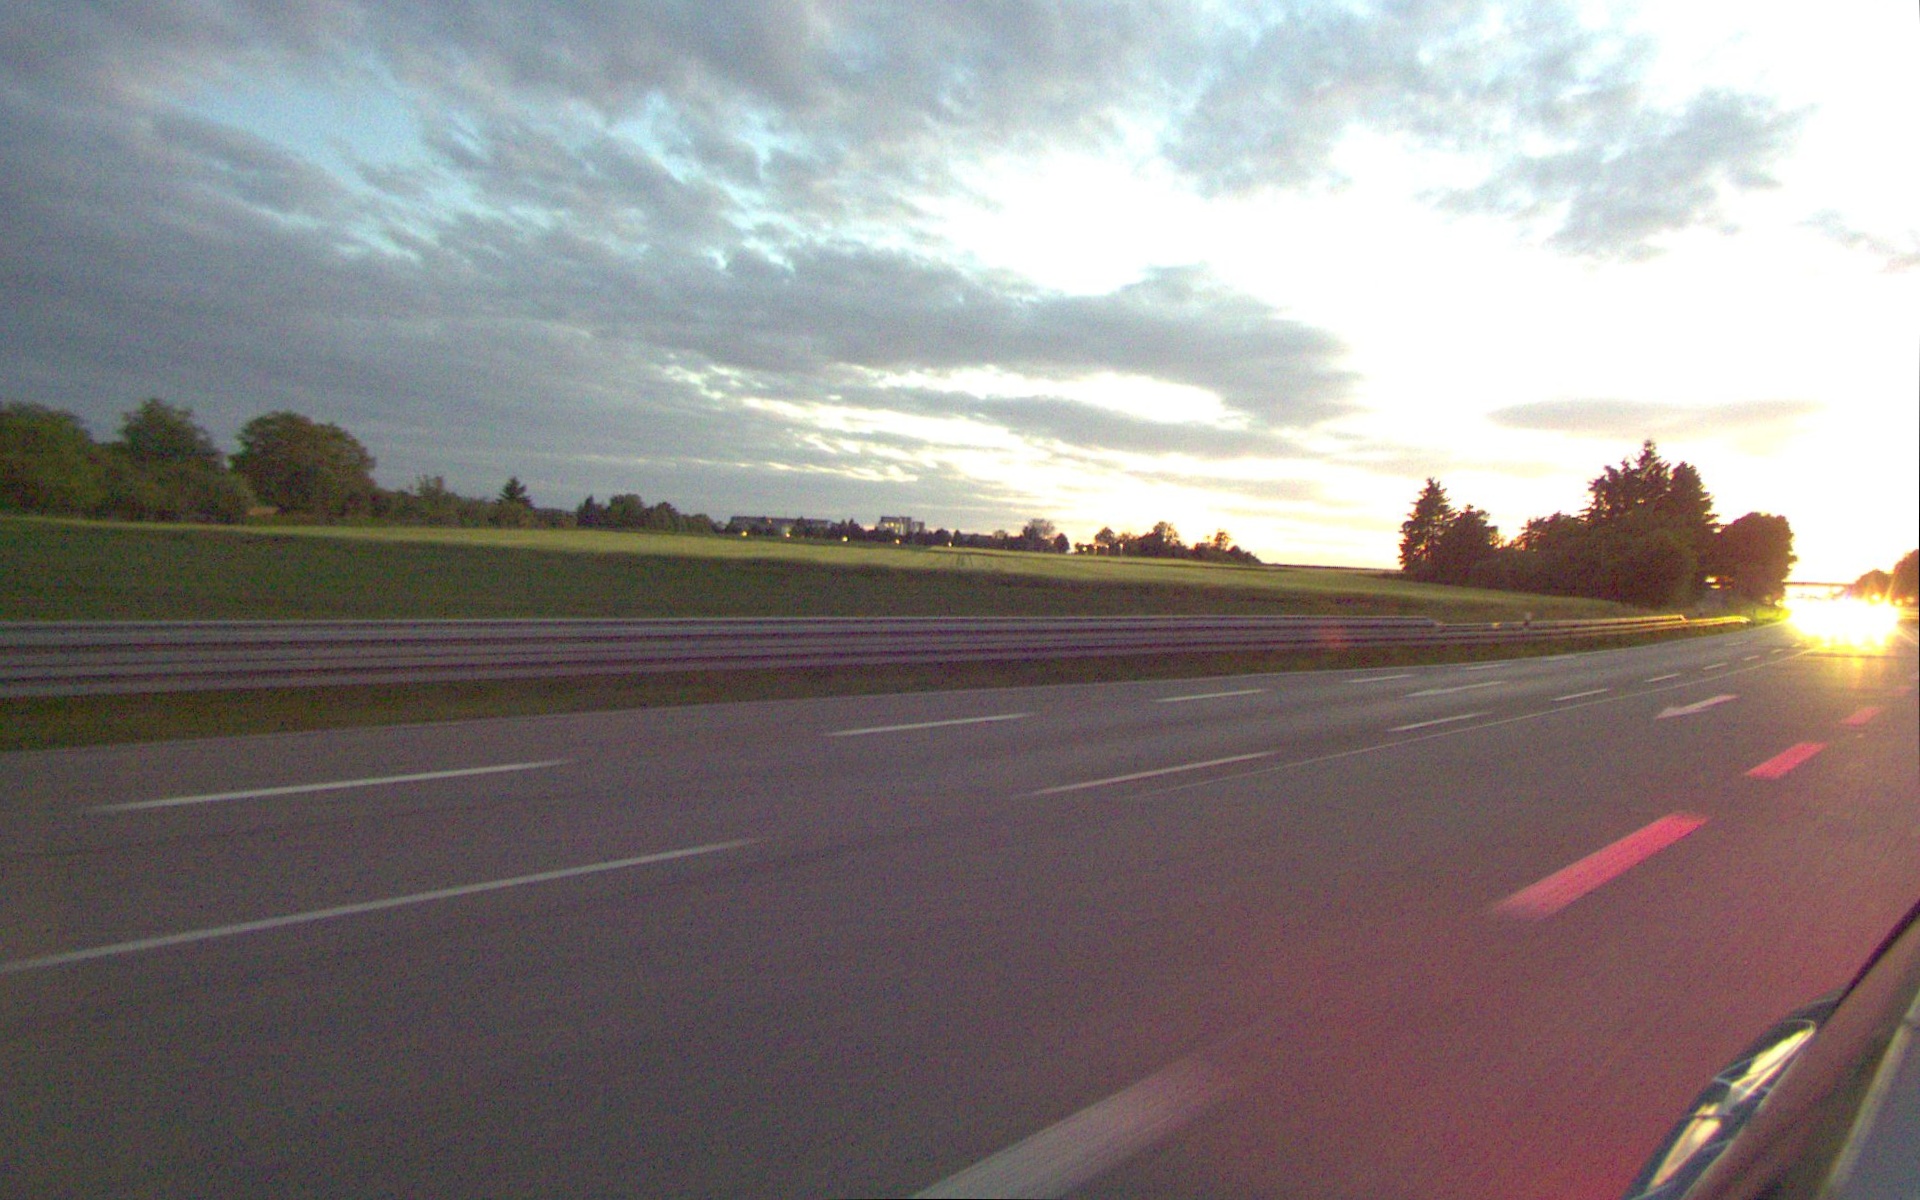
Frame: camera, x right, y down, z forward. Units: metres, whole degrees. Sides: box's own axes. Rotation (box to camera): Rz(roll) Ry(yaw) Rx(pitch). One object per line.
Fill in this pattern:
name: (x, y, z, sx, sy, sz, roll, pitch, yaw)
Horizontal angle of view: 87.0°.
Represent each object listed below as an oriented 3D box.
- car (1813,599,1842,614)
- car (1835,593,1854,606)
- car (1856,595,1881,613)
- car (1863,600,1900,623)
car: (95.484, 0.707, 111.410, 3.932, 1.604, 1.996, 0, 0, -43)
car: (117.515, -0.068, 134.433, 1.827, 1.772, 3.791, -1, -1, 42)
car: (108.337, 0.473, 120.672, 3.932, 2.039, 1.859, 0, 0, -43)
car: (62.284, 0.742, 68.446, 1.750, 1.474, 3.746, 2, 1, 41)
